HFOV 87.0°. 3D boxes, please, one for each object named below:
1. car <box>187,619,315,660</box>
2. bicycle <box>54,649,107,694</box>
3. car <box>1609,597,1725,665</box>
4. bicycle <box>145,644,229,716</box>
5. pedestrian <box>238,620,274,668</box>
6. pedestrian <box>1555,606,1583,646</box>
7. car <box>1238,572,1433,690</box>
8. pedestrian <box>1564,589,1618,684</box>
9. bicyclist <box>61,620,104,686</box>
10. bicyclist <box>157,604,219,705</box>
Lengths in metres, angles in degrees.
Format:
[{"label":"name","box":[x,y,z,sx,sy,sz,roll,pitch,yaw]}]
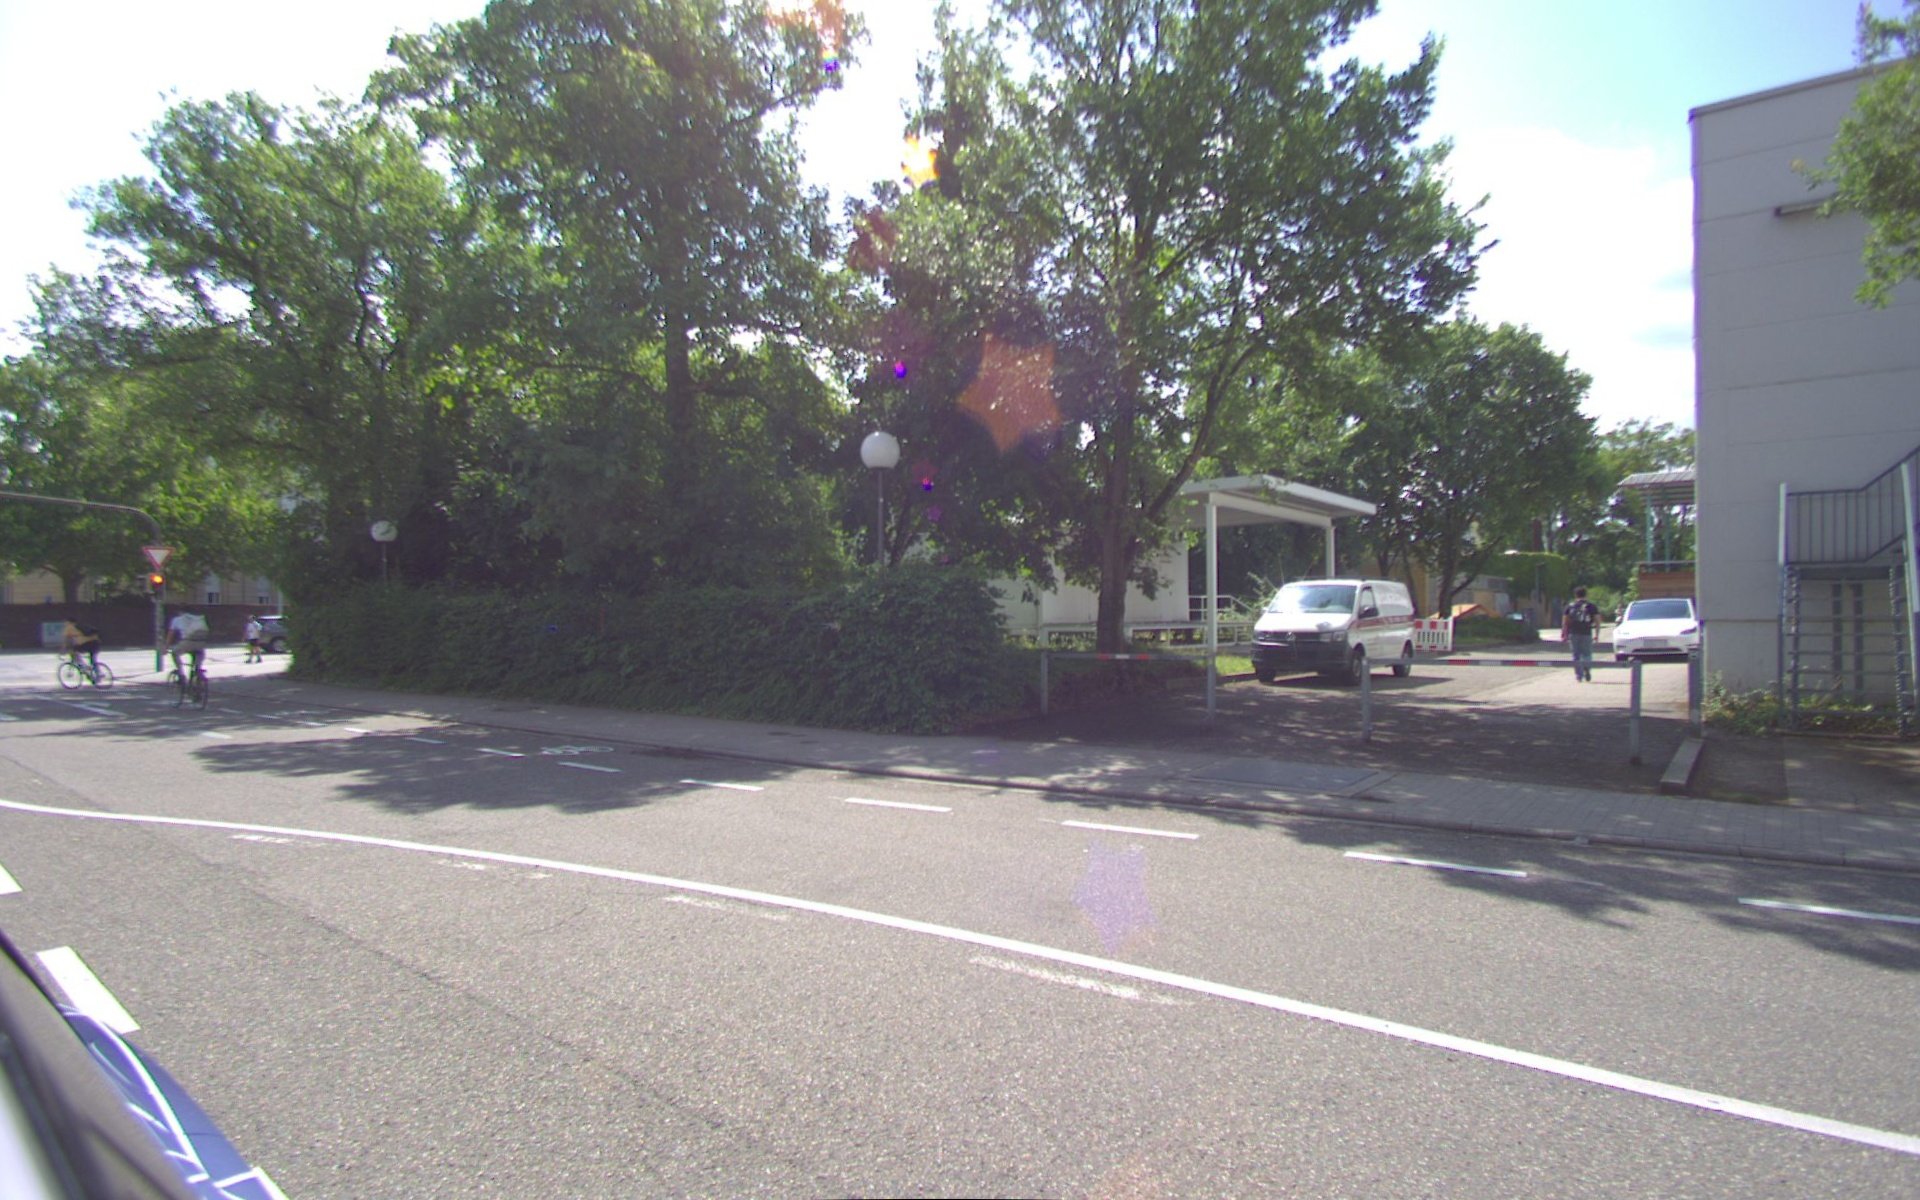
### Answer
[{"label":"car","box":[-31.544,1.737,45.106,1.826,1.691,4.413,-1,-1,44]},{"label":"bicycle","box":[-21.490,1.728,24.717,2.210,0.996,0.784,-1,-2,44]},{"label":"car","box":[19.170,0.821,27.356,1.999,1.667,4.869,-3,-2,41]},{"label":"bicycle","box":[-13.943,1.405,18.228,2.207,1.180,0.686,-1,-1,39]},{"label":"pedestrian","box":[-25.642,1.603,36.876,0.854,1.714,0.918,-3,-3,42]},{"label":"pedestrian","box":[24.008,1.026,39.889,0.772,1.558,0.816,-2,-2,41]},{"label":"car","box":[7.411,0.543,19.683,1.999,2.001,4.869,0,0,41]},{"label":"pedestrian","box":[11.346,0.643,18.195,0.666,1.660,0.758,-2,-2,41]},{"label":"bicyclist","box":[-21.266,1.271,24.520,1.019,1.560,0.685,-1,-2,44]},{"label":"bicyclist","box":[-13.914,0.961,18.240,0.917,1.750,0.686,-1,-1,38]}]
